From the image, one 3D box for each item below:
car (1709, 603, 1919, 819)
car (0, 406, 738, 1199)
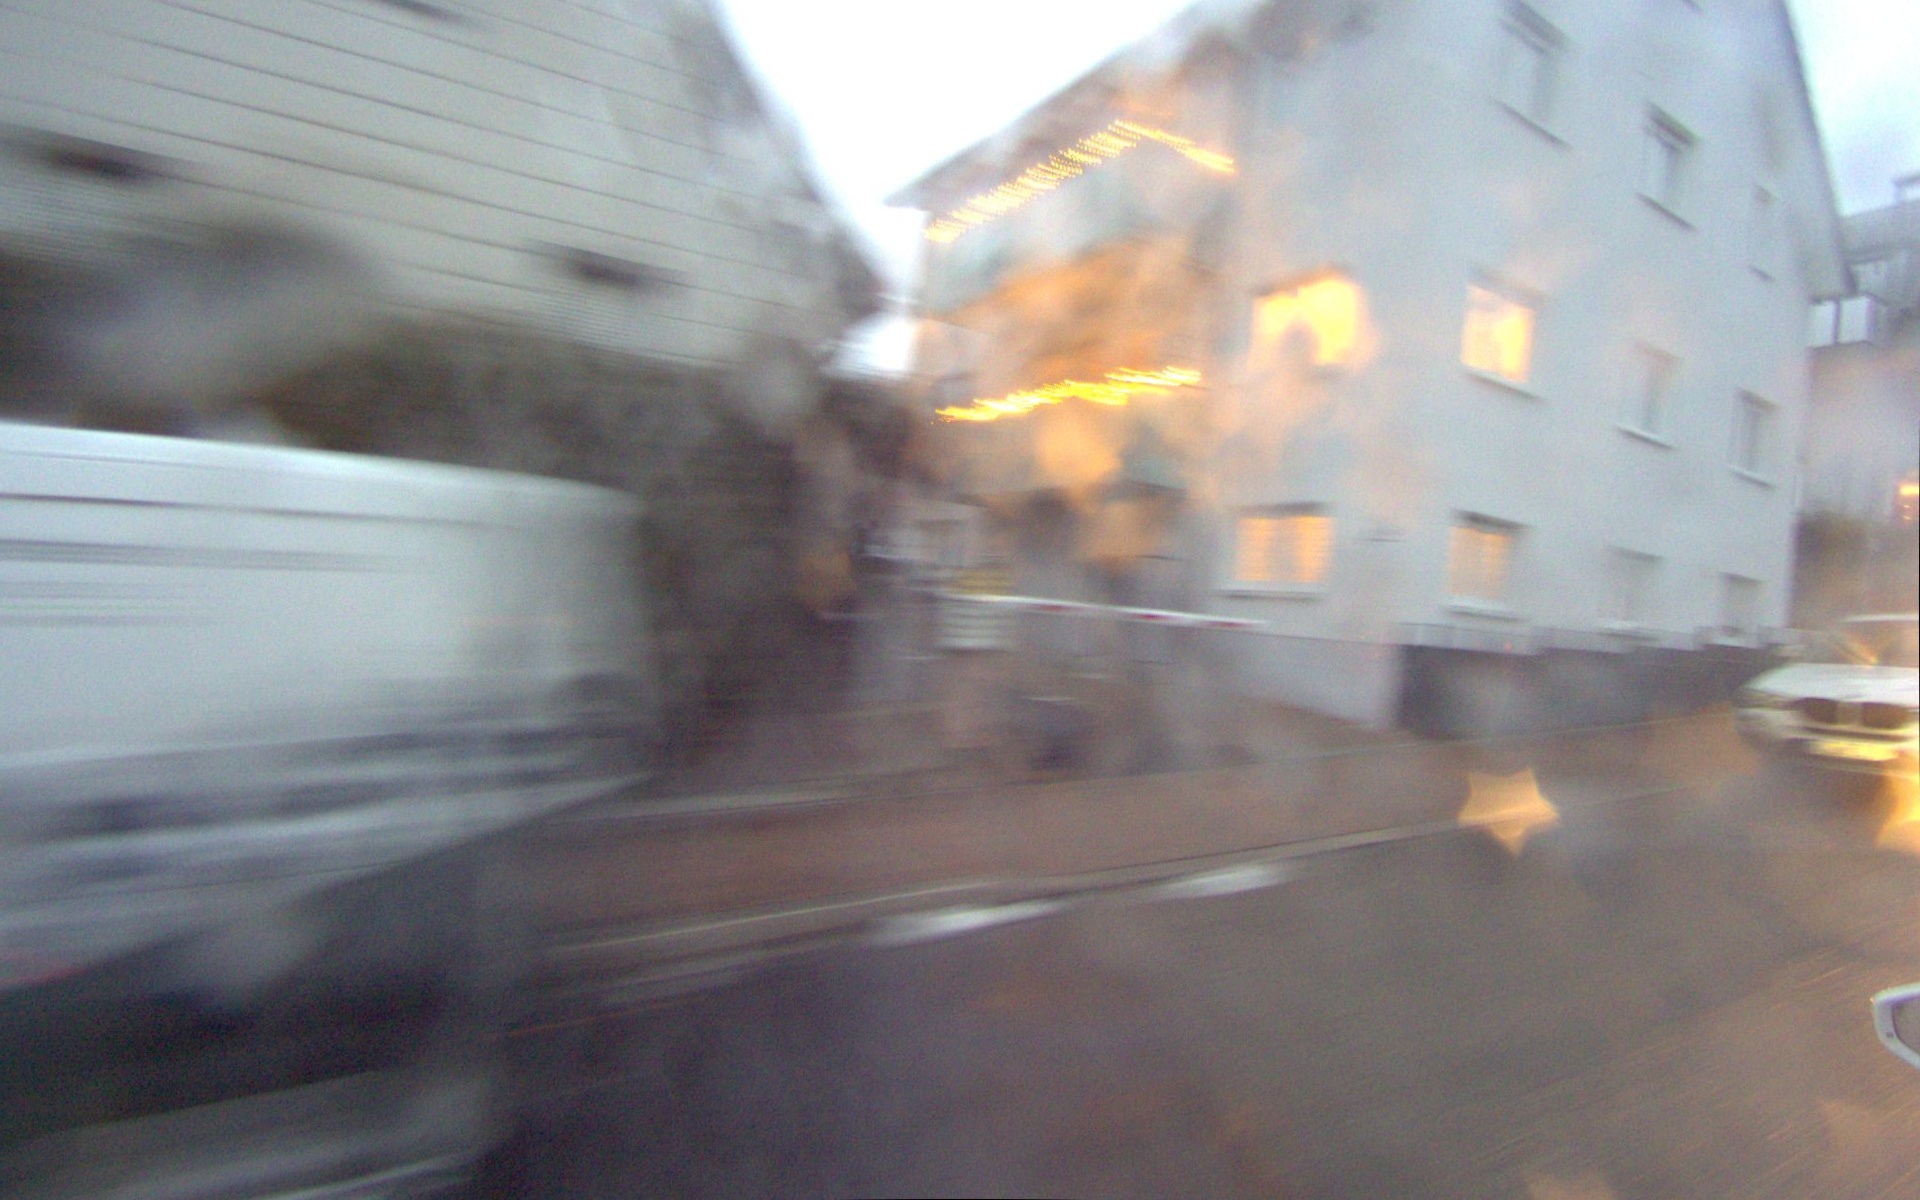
[{"bbox_3d":[8.985,0.920,9.346,4.377,1.646,1.906,2,0,-34],"label":"car"},{"bbox_3d":[-2.714,0.564,2.040,4.081,1.816,1.762,1,0,-31],"label":"car"}]
